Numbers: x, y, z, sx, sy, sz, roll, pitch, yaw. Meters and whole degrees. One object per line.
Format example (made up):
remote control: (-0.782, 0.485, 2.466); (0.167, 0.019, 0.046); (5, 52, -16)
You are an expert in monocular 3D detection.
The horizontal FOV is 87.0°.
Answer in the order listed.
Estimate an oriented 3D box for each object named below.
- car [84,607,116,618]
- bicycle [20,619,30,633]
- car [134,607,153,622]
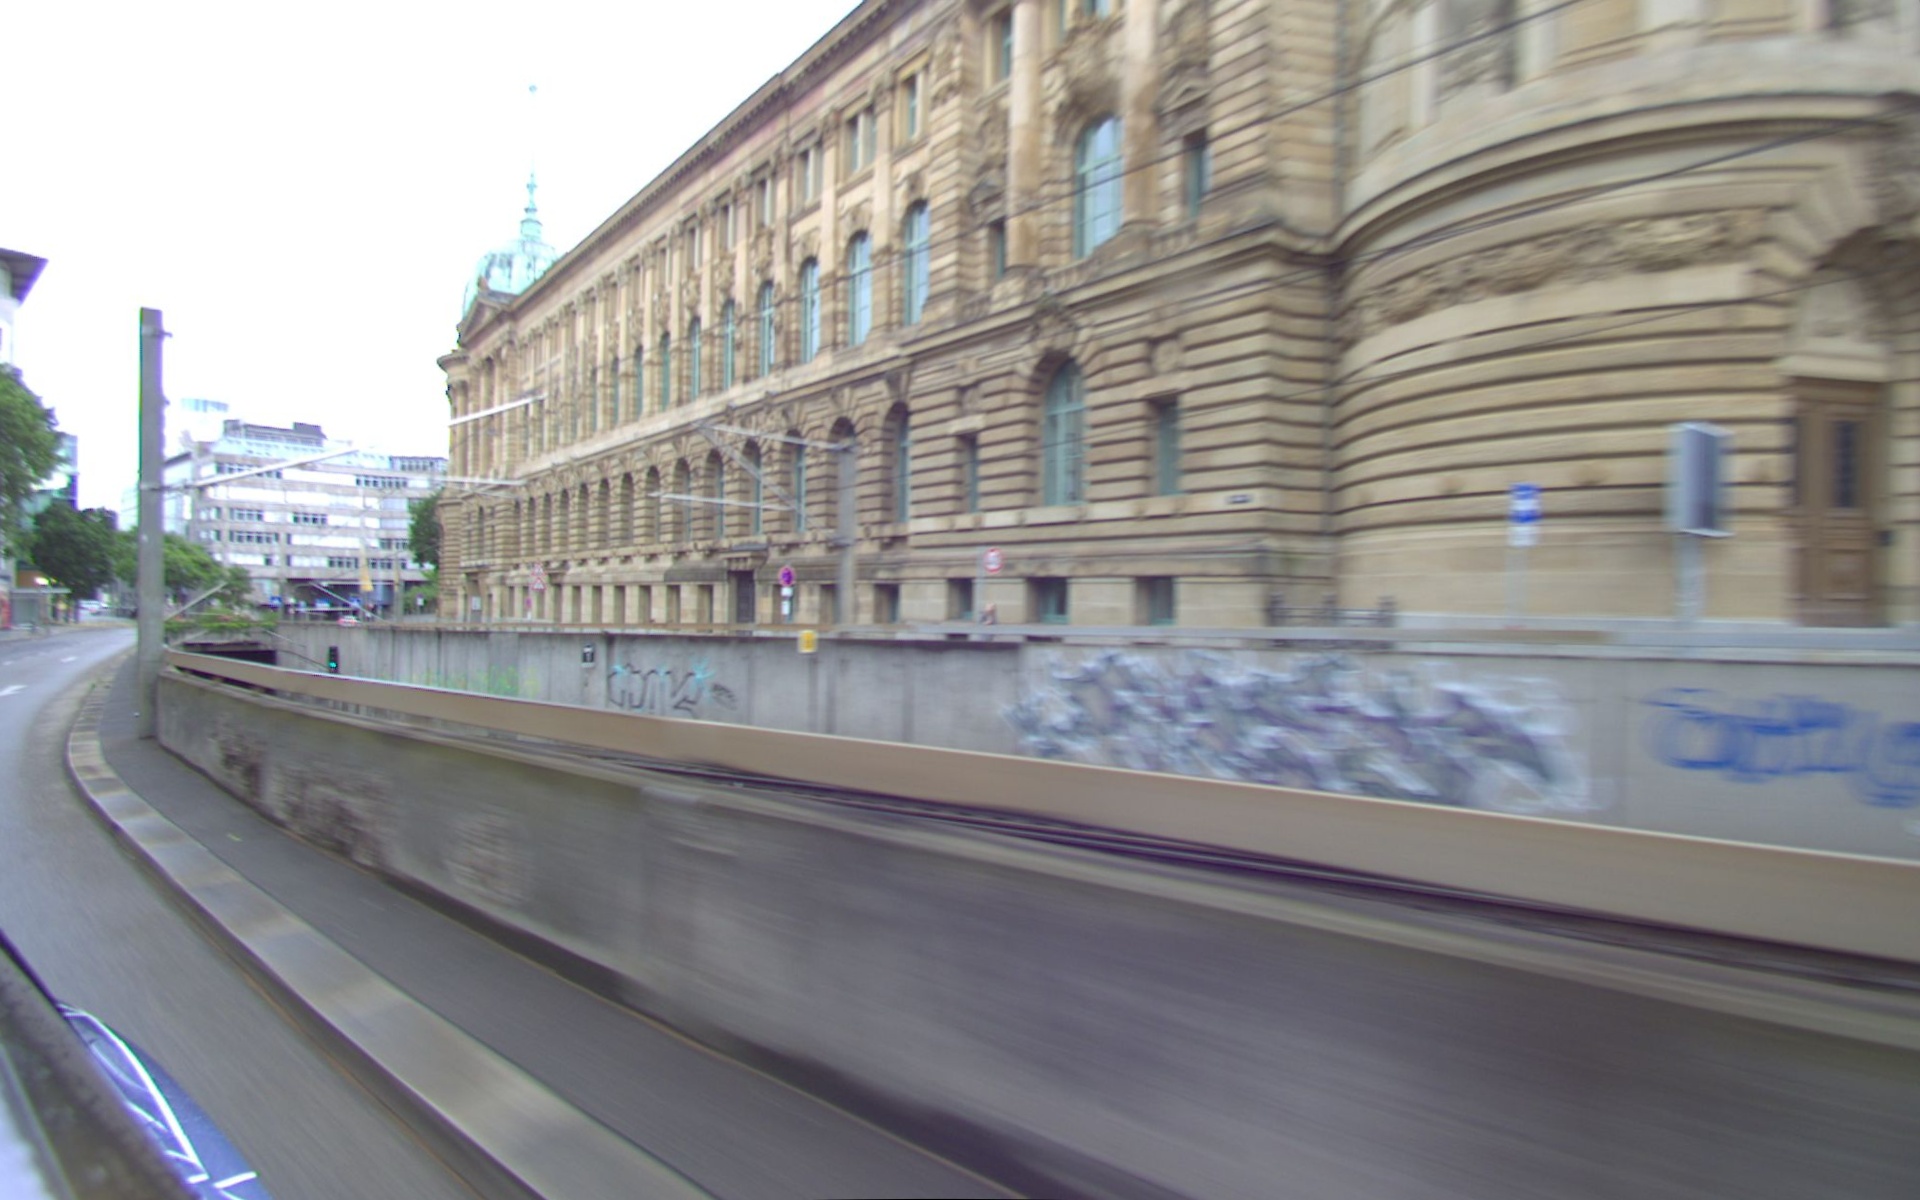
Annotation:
car: (-148.323, 2.155, 174.607); (1.791, 1.663, 3.735); (1, -2, 28)
bicycle: (-68.368, 1.896, 74.016); (0.483, 1.020, 1.931); (0, 0, -41)
car: (-120.395, 2.157, 149.159); (1.970, 2.095, 4.005); (0, 0, -43)
